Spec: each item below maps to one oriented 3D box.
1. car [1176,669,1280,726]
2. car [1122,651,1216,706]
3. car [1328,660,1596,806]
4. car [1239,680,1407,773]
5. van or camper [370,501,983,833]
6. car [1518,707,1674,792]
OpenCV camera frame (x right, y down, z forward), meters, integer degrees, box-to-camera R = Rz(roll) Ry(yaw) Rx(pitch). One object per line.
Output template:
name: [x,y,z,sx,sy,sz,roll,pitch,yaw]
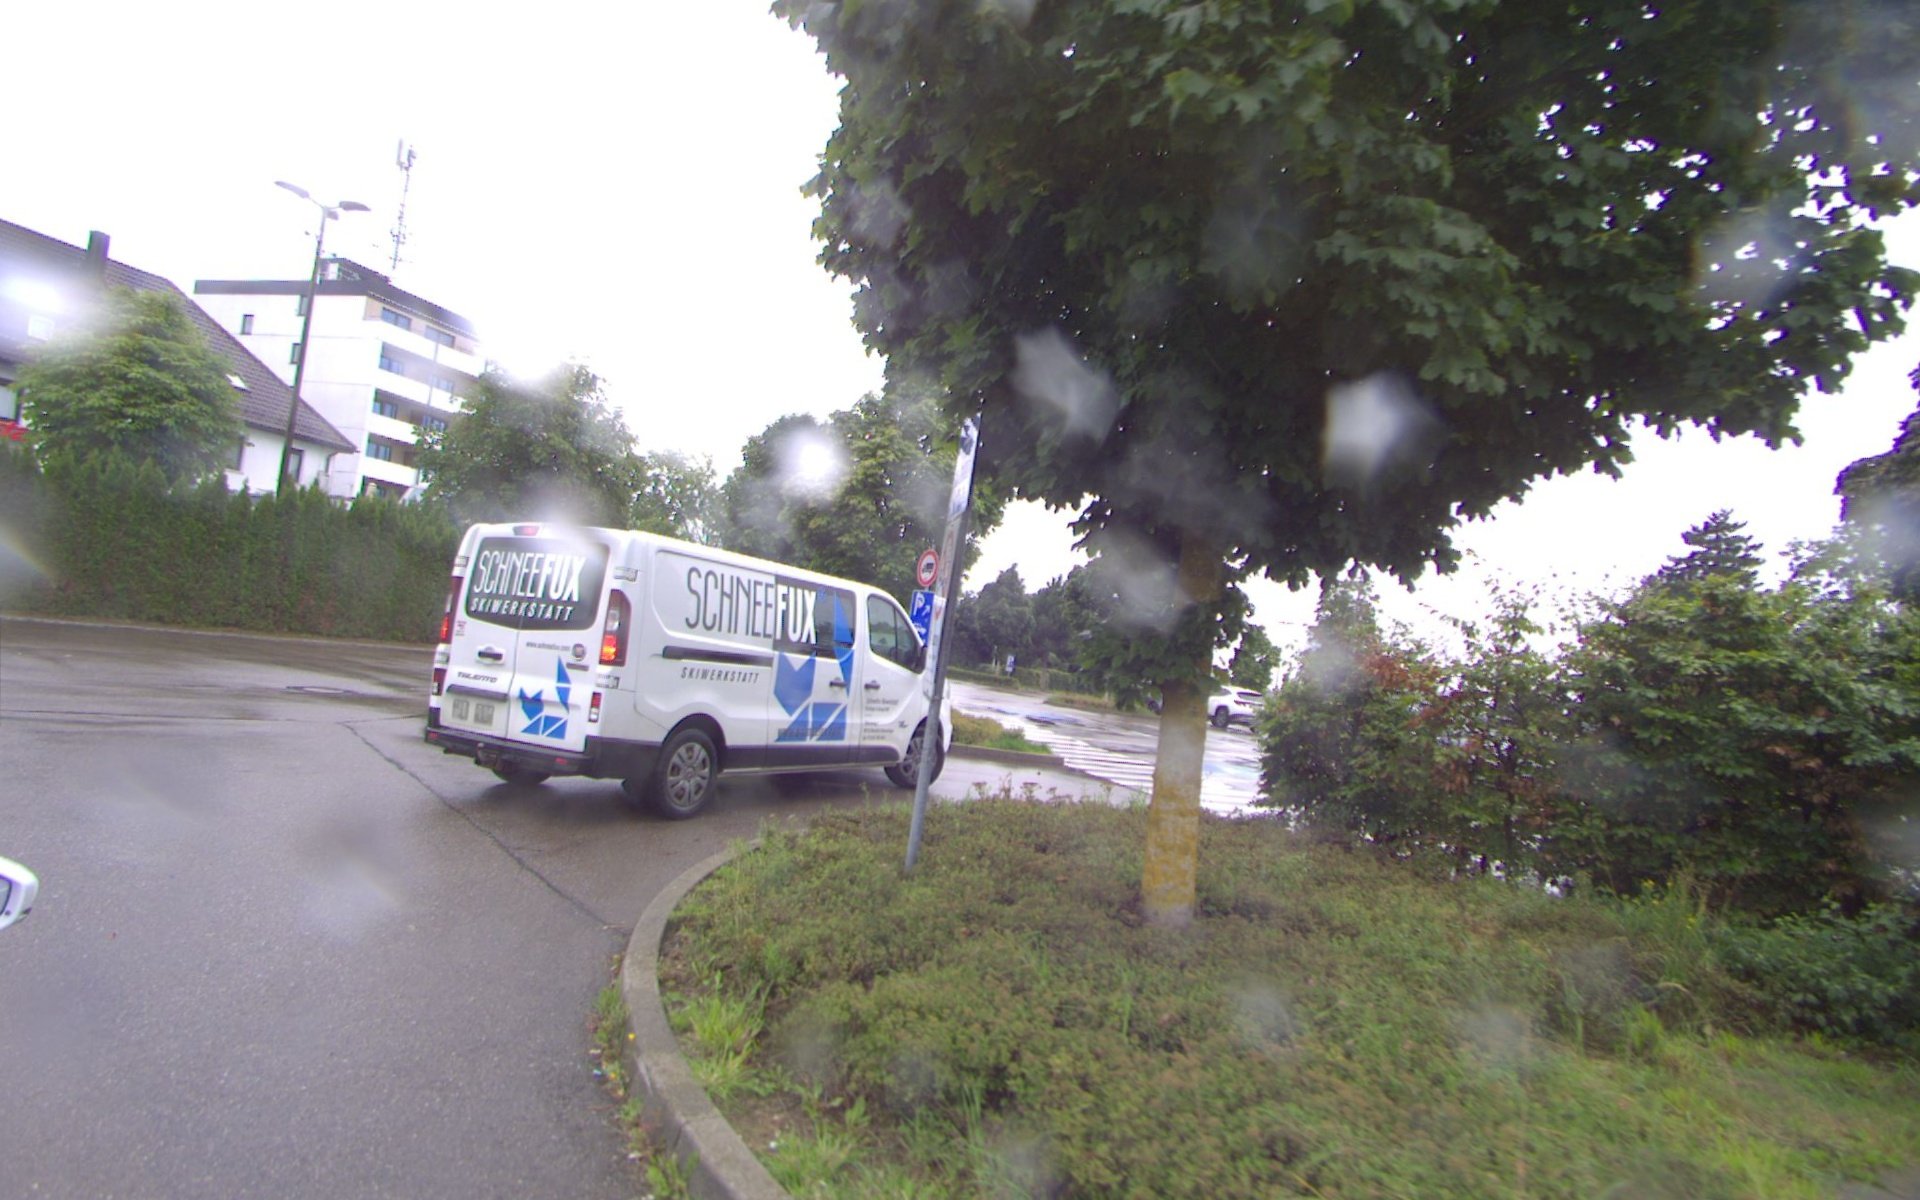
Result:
car: [10.693,3.859,40.413,1.691,1.713,4.026,7,-2,-25]
car: [8.219,3.068,39.957,1.773,1.713,4.036,7,-2,-16]
car: [10.063,2.590,20.680,1.971,2.214,4.751,7,-1,-18]
car: [10.185,3.519,28.607,1.899,1.907,4.381,7,-2,-21]
van or camper: [-1.968,0.633,8.970,2.156,1.966,5.198,5,-4,27]
car: [20.470,4.776,32.550,1.763,2.037,3.768,8,-2,-22]
